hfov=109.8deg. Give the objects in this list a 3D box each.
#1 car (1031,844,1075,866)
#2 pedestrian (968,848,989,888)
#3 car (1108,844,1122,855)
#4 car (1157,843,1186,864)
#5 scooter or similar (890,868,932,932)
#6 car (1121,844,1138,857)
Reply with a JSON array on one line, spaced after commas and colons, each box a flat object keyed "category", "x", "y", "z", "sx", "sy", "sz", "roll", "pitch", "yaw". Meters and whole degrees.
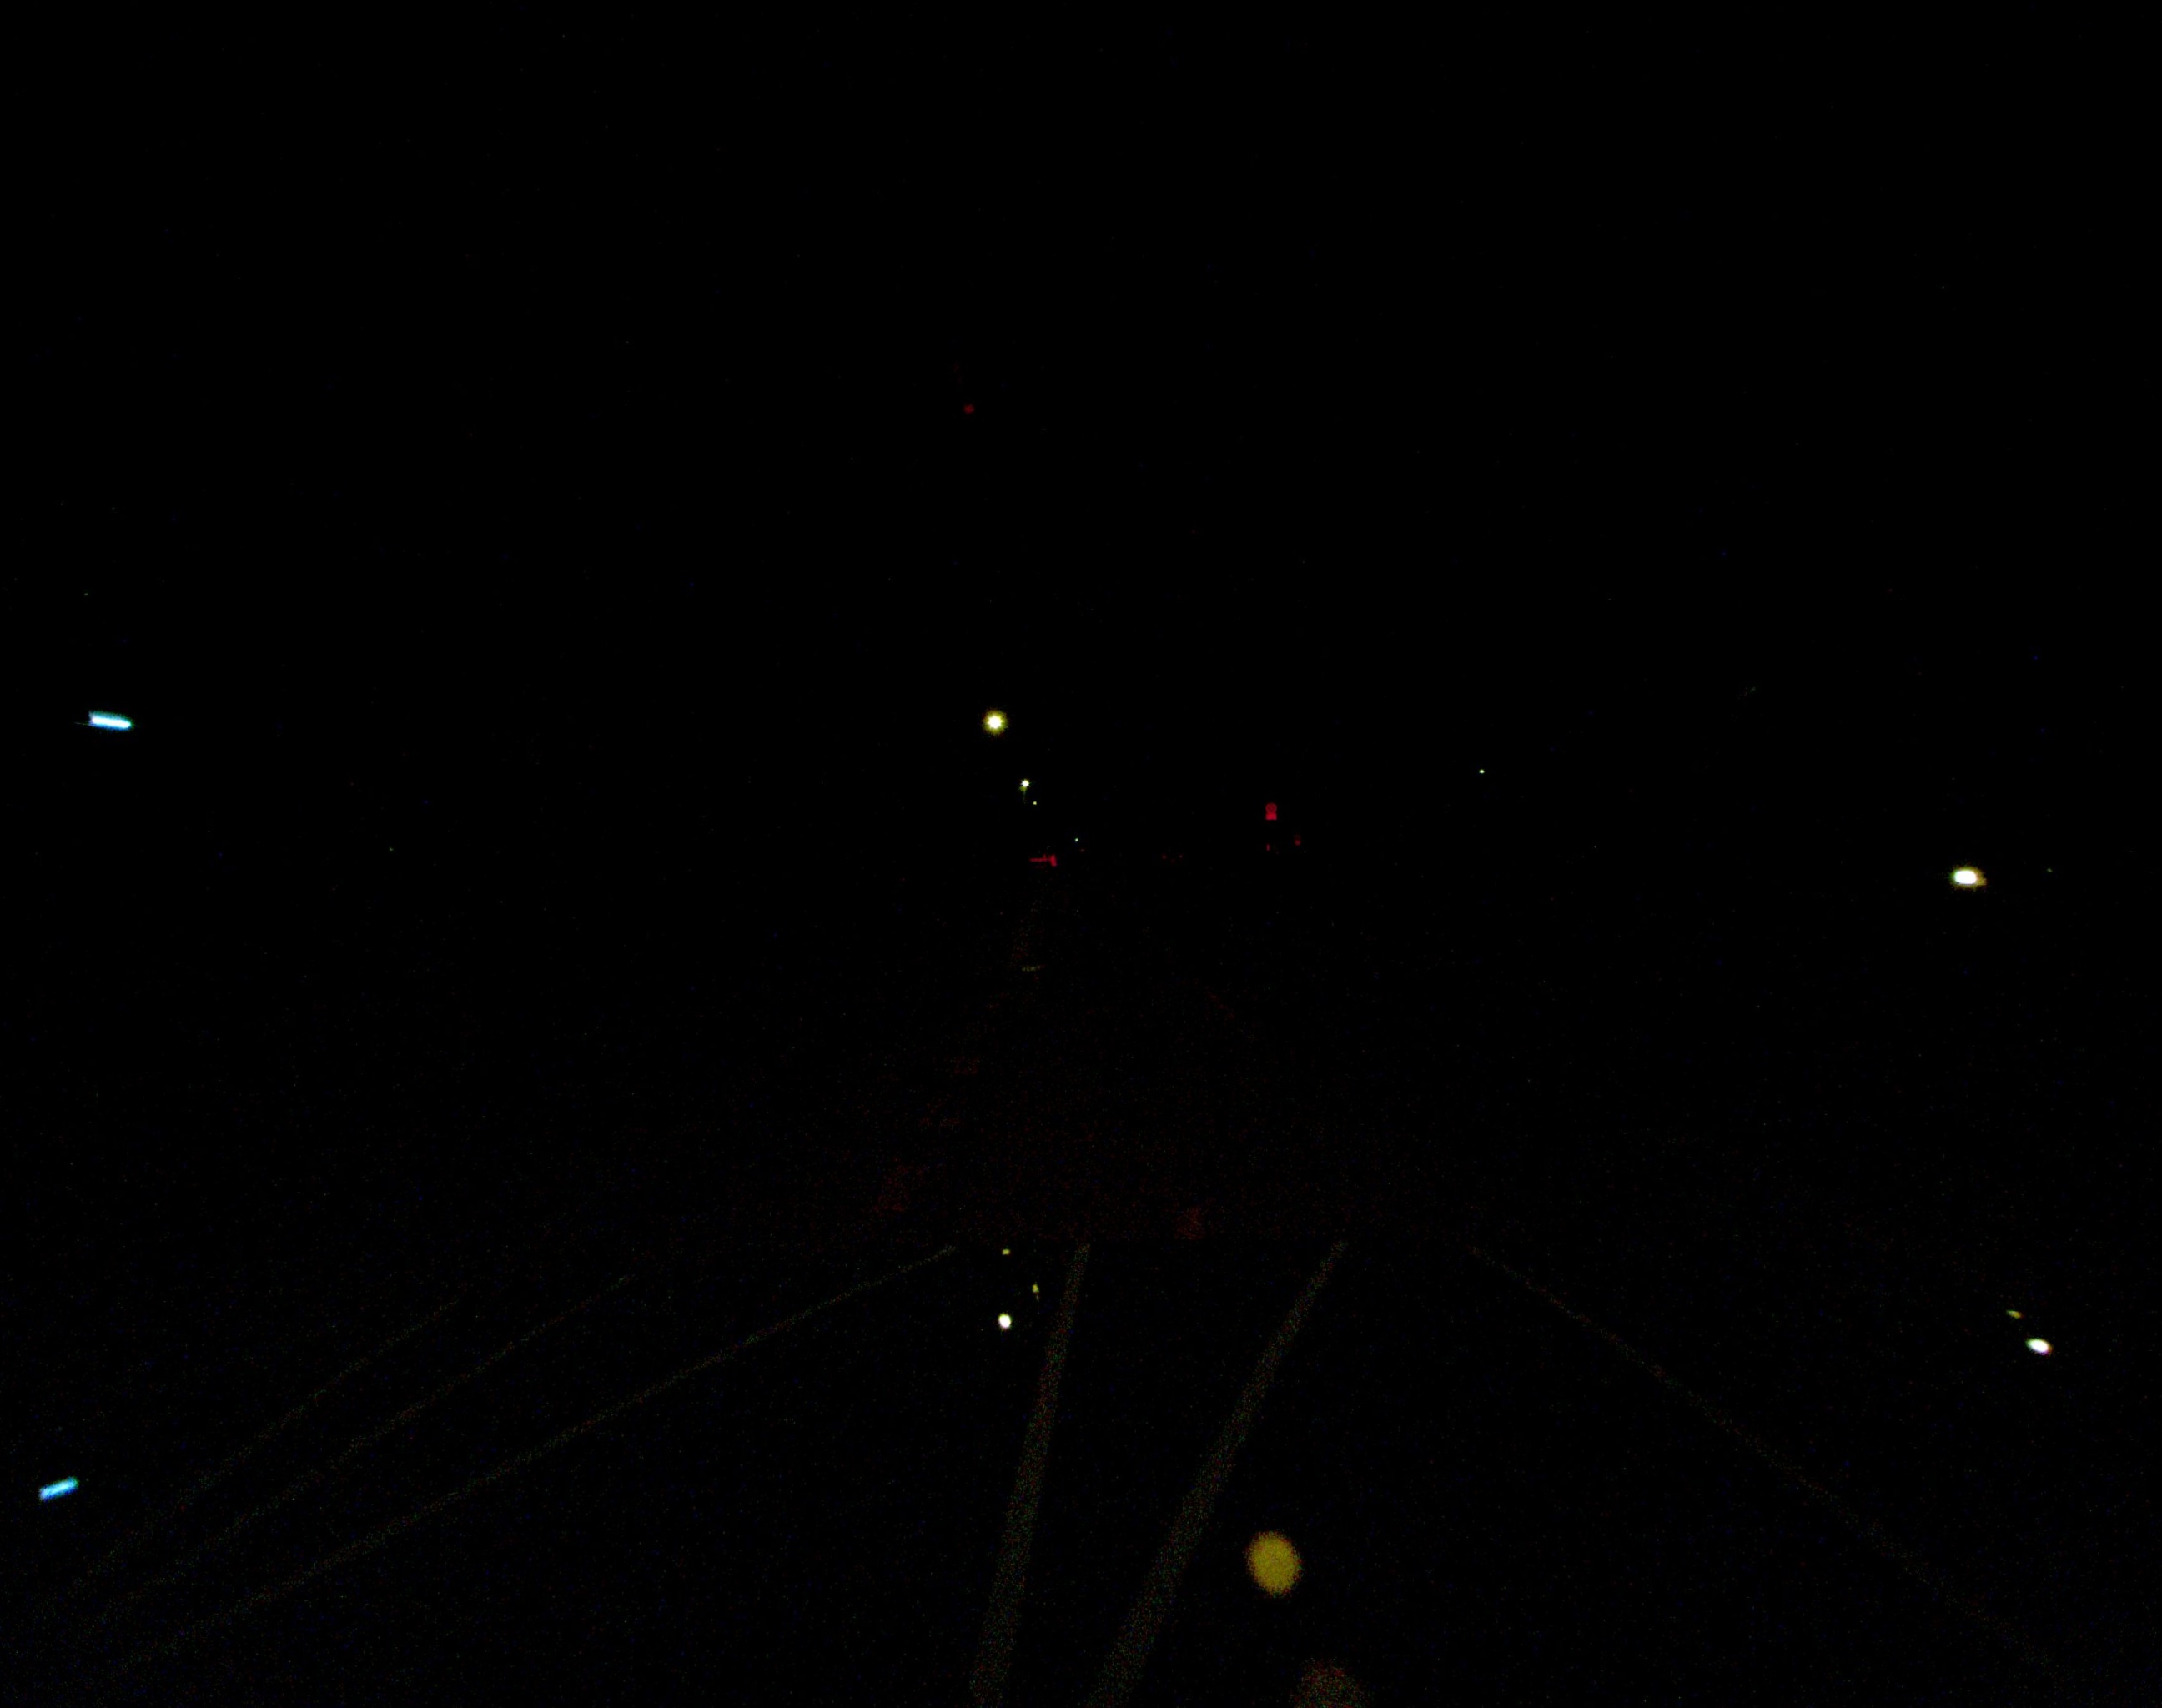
[{"category": "car", "x": -2.573, "y": 0.062, "z": 70.768, "sx": 3.997, "sy": 1.821, "sz": 1.912, "roll": -2, "pitch": 3, "yaw": 0}, {"category": "pedestrian", "x": -4.828, "y": 0.636, "z": 35.758, "sx": 0.824, "sy": 1.809, "sz": 0.608, "roll": -3, "pitch": 2, "yaw": 1}, {"category": "car", "x": 5.191, "y": -0.708, "z": 116.632, "sx": 1.911, "sy": 1.445, "sz": 3.999, "roll": -3, "pitch": 2, "yaw": 1}, {"category": "car", "x": 7.228, "y": -0.045, "z": 61.013, "sx": 1.911, "sy": 1.445, "sz": 3.999, "roll": -3, "pitch": 2, "yaw": 1}, {"category": "scooter or similar", "x": -3.634, "y": 0.962, "z": 16.335, "sx": 0.570, "sy": 1.271, "sz": 1.391, "roll": 0, "pitch": 0, "yaw": 0}, {"category": "car", "x": 6.406, "y": -0.512, "z": 100.453, "sx": 1.911, "sy": 1.445, "sz": 3.999, "roll": -3, "pitch": 2, "yaw": 1}]
